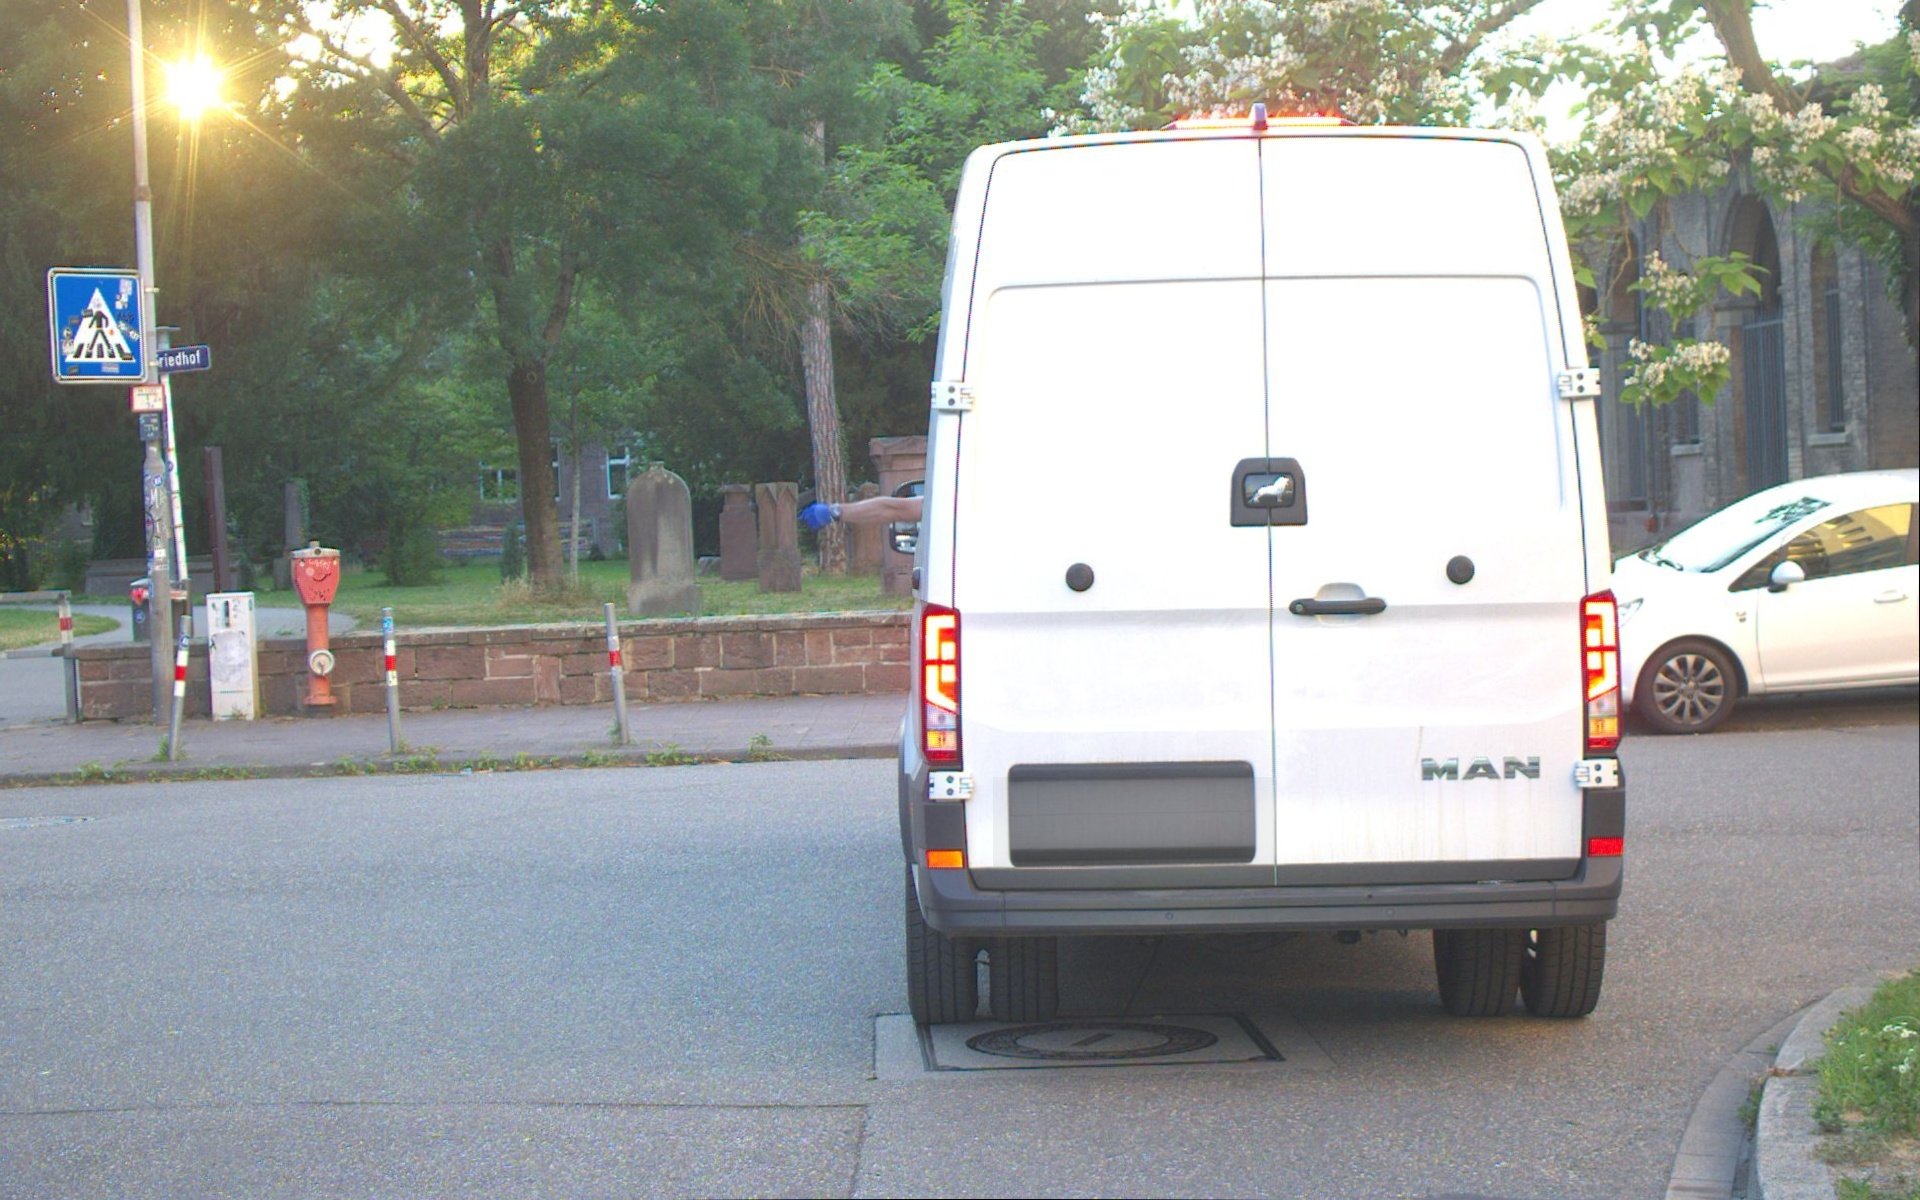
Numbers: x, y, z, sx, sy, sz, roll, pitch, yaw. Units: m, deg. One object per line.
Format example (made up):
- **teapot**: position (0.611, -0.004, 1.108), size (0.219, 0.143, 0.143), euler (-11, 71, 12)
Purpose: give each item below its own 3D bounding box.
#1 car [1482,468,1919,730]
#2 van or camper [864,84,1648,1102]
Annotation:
- **car**: position (5.526, -0.056, 22.363), size (3.854, 1.568, 1.958), euler (-1, 2, -3)
- **van or camper**: position (0.920, -0.090, 12.083), size (1.994, 2.609, 6.403), euler (-1, 1, 3)
